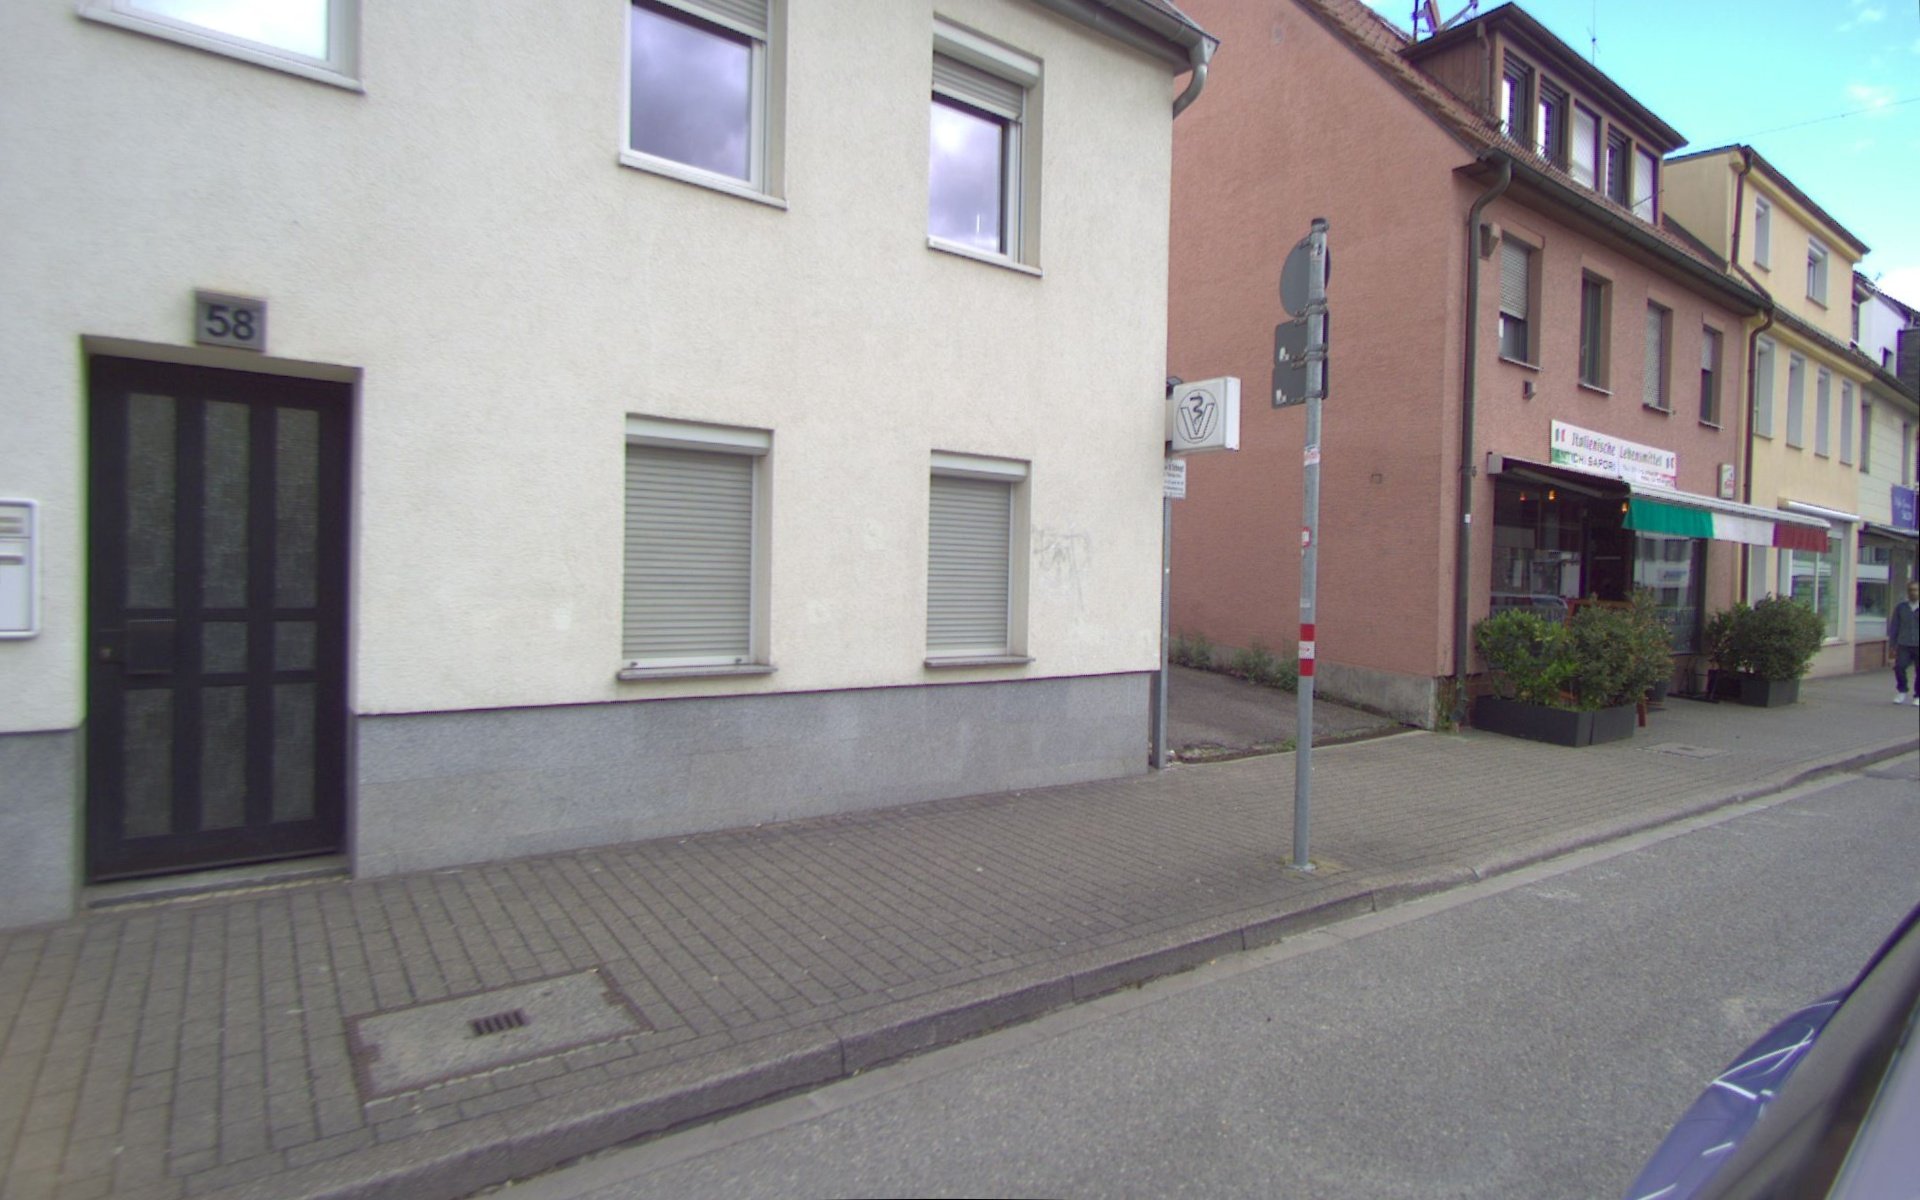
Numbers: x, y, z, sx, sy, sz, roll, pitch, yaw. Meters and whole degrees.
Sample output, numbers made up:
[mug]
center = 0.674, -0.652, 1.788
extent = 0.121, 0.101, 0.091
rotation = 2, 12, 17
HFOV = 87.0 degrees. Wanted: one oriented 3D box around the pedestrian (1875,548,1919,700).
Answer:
[pedestrian]
center = 13.778, 0.343, 14.385
extent = 0.992, 2.099, 0.827
rotation = 0, 4, -37
